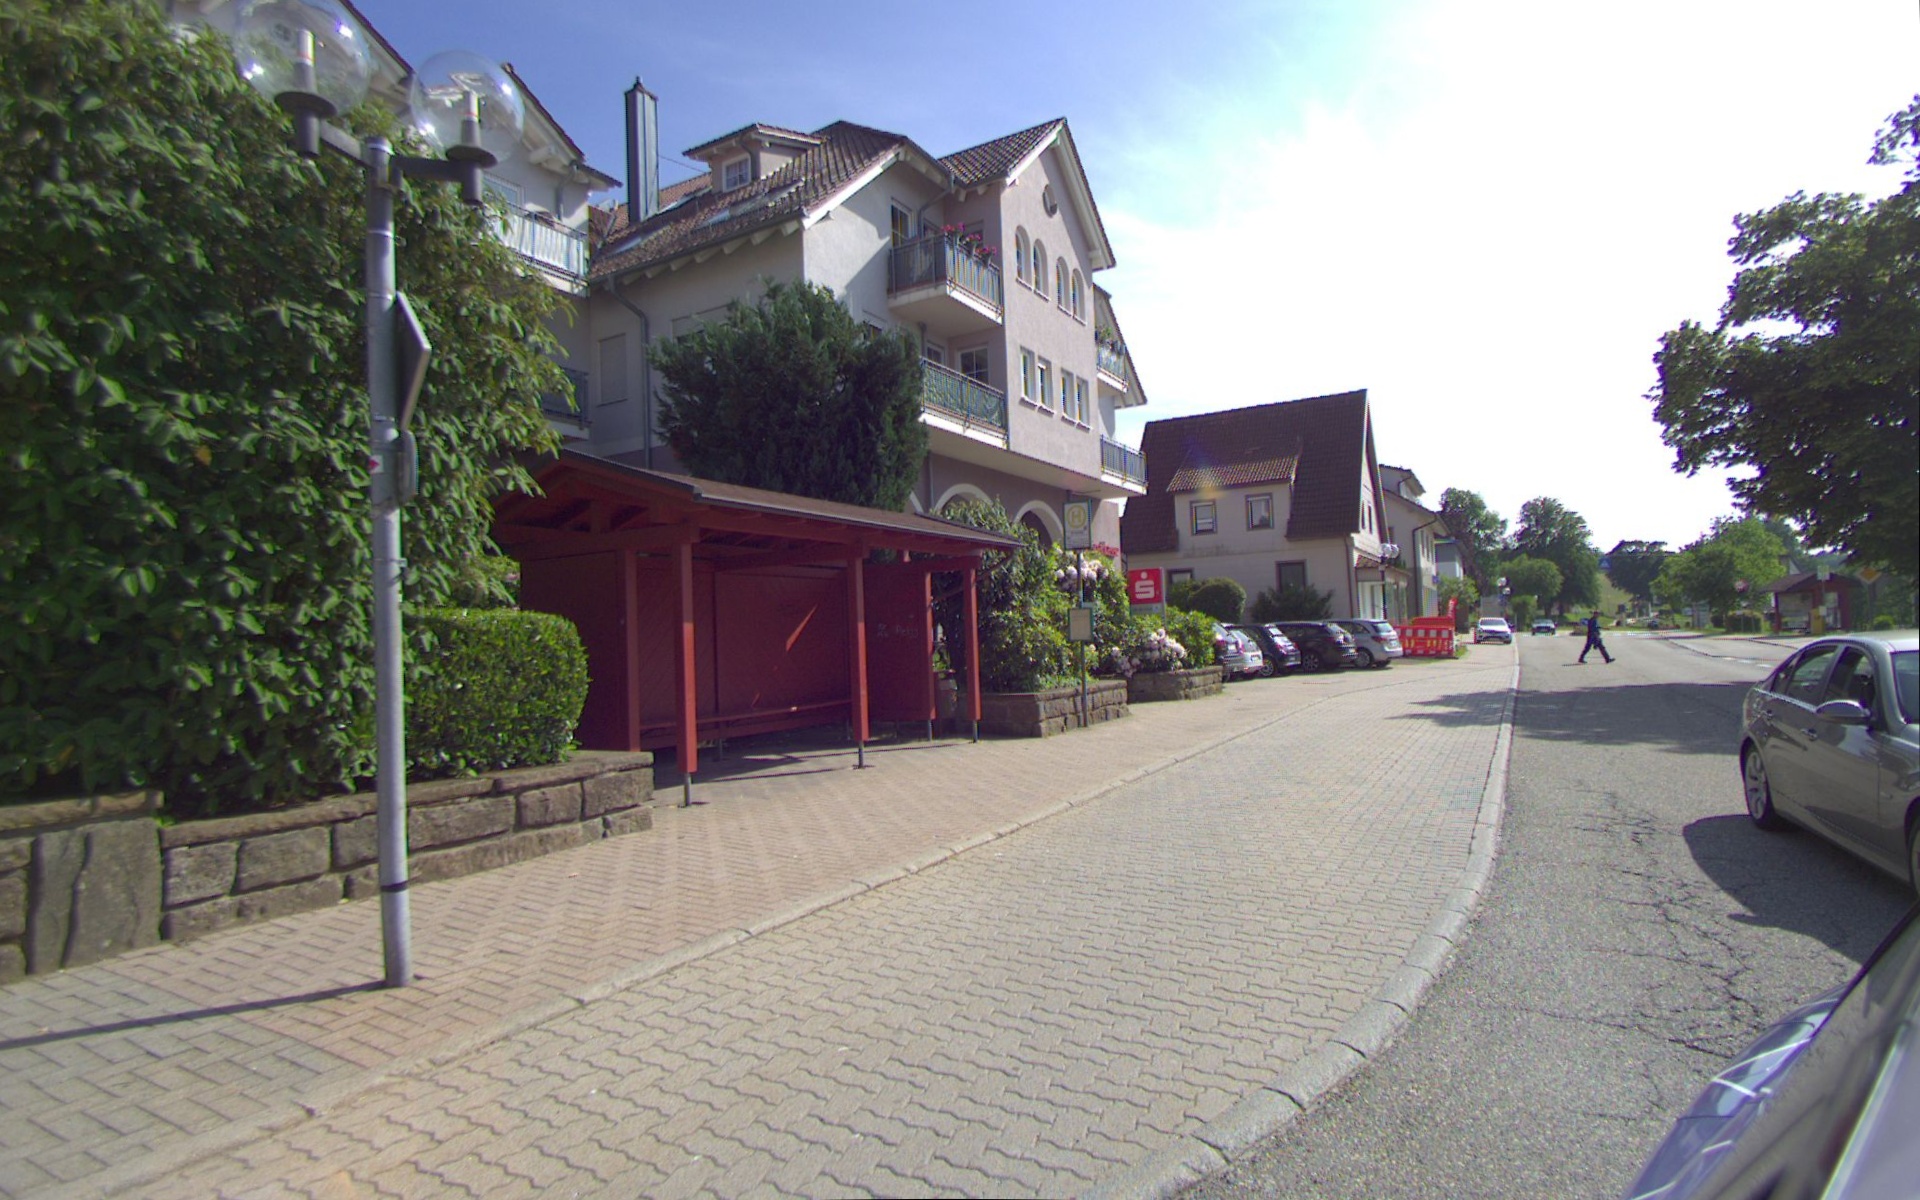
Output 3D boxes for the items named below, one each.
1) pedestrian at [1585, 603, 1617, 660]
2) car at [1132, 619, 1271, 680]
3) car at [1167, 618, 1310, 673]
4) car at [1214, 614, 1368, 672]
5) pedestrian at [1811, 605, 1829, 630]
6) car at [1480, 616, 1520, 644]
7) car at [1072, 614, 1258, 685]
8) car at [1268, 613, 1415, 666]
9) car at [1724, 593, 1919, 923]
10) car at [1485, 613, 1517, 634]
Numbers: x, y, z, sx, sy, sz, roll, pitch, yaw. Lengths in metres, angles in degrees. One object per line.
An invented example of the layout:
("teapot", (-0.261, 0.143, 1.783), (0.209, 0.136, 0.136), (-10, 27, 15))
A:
("pedestrian", (20.731, 1.004, 32.732), (0.796, 1.807, 0.967), (-2, -2, 35))
("car", (6.377, 1.276, 26.828), (3.226, 1.488, 1.606), (-2, -2, 38))
("car", (7.892, 1.318, 28.802), (3.549, 1.437, 1.561), (-4, -3, 38))
("car", (9.825, 1.303, 30.213), (3.981, 1.569, 1.712), (-5, -4, 41))
("pedestrian", (44.885, 0.902, 52.799), (0.625, 1.269, 0.419), (0, -1, 28))
("car", (29.777, 1.645, 55.872), (1.623, 1.438, 3.901), (-2, -1, 24))
("car", (4.899, 1.149, 24.325), (3.969, 1.568, 1.859), (-2, -2, 33))
("car", (11.938, 1.246, 31.791), (3.859, 1.579, 1.932), (-3, -3, 43))
("car", (5.913, 0.674, 5.800), (1.824, 1.386, 4.532), (-1, -1, 30))
("car", (38.894, 1.657, 72.726), (1.752, 1.441, 3.592), (-1, -1, 32))
